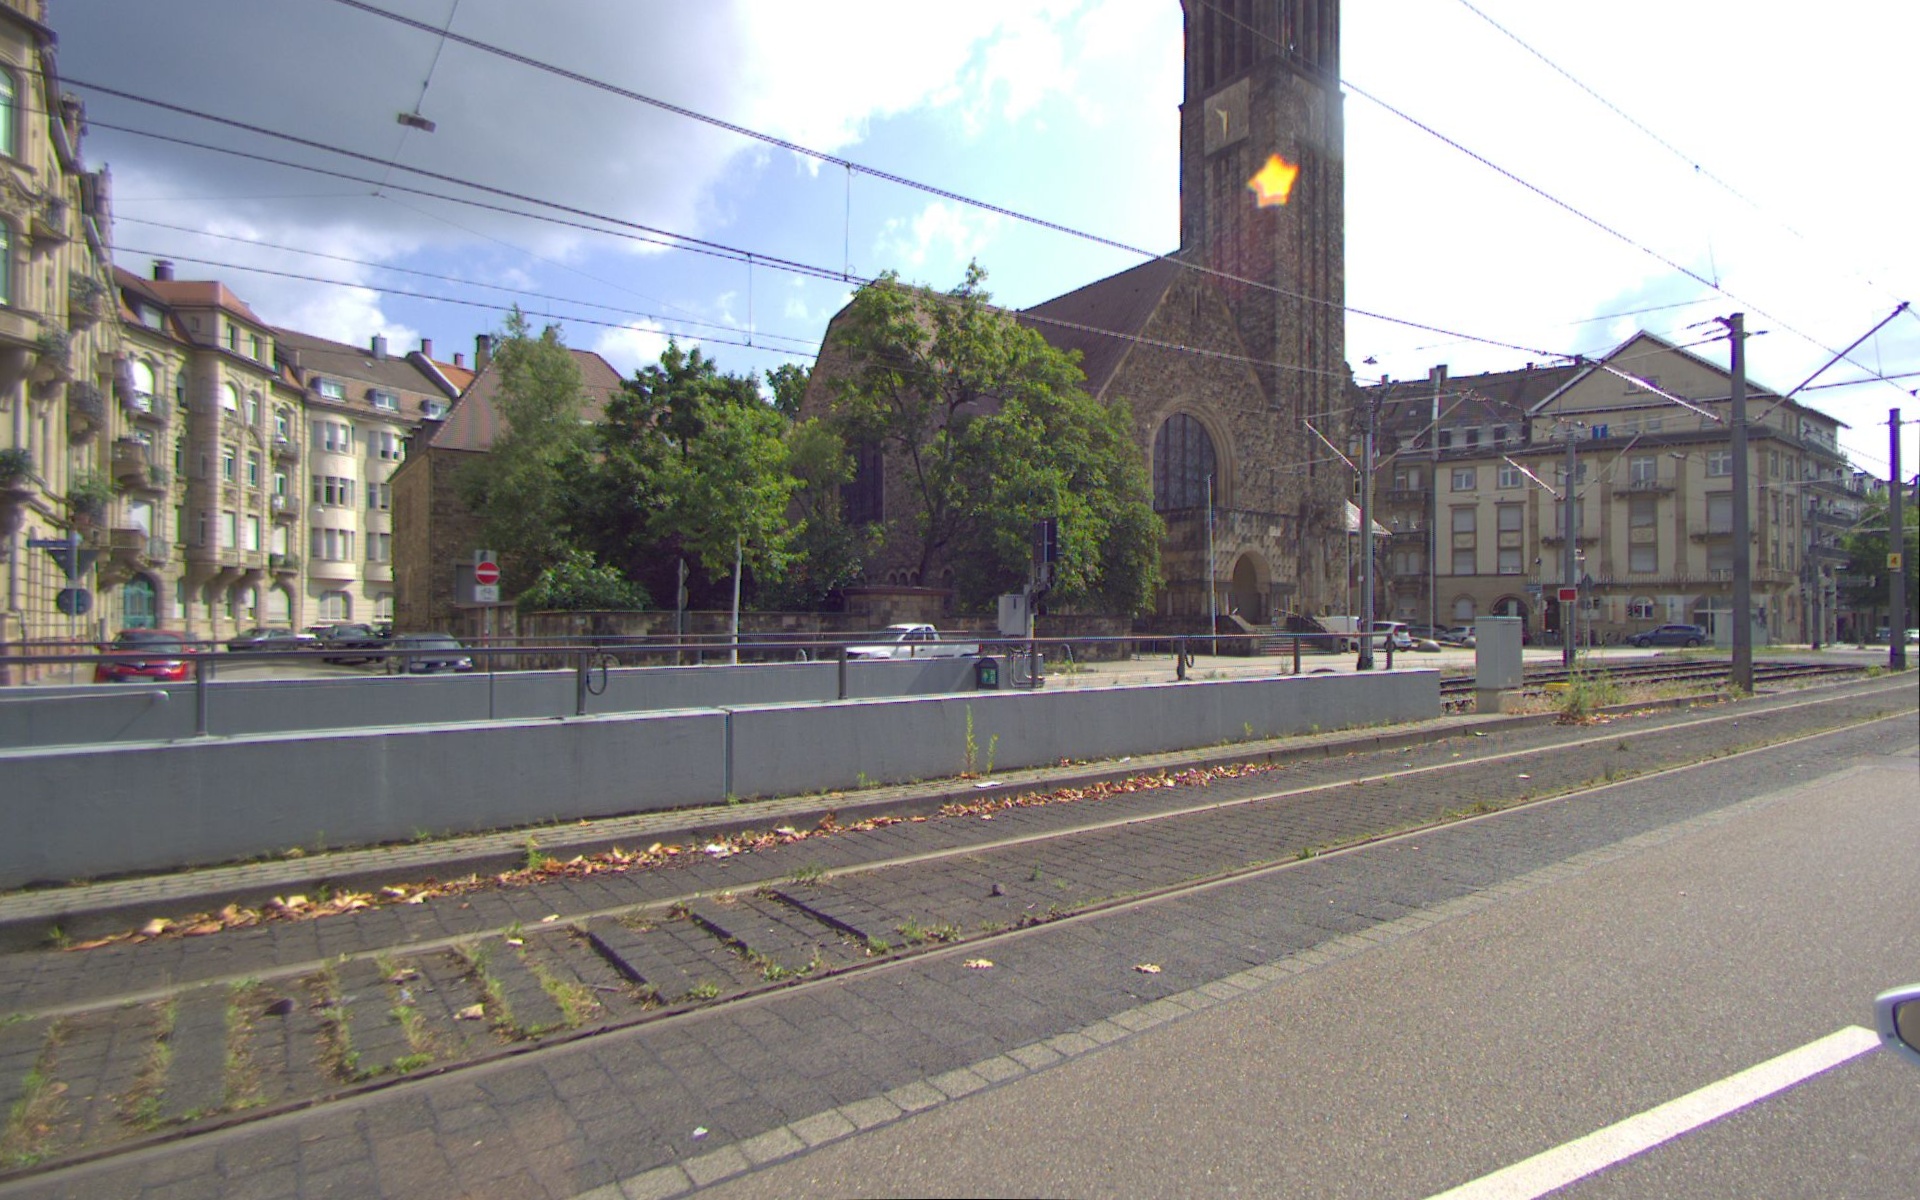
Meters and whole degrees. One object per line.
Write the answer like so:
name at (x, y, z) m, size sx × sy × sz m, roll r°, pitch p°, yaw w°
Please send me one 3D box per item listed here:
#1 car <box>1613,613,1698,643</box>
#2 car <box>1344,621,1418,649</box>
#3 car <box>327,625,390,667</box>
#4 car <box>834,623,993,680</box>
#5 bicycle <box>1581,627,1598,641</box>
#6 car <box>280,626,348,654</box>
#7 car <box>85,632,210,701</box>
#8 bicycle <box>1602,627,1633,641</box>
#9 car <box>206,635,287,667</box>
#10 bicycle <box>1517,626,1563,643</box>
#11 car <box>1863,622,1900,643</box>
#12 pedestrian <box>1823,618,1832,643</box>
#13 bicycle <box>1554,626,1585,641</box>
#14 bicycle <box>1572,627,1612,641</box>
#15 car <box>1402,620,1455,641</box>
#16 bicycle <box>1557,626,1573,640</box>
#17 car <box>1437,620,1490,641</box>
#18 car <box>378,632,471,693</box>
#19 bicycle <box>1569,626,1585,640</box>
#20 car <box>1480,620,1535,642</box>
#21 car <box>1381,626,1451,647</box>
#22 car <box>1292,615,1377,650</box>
car at (49.366, 1.998, 71.385) m, size 4.719 × 2.040 × 1.997 m, roll -1°, pitch -1°, yaw 29°
car at (23.043, 1.902, 55.039) m, size 1.838 × 1.522 × 3.241 m, roll 1°, pitch -2°, yaw -37°
car at (-25.729, 1.920, 42.907) m, size 1.915 × 1.693 × 3.752 m, roll 1°, pitch -2°, yaw -37°
car at (-1.308, 1.451, 29.362) m, size 4.375 × 1.524 × 1.916 m, roll 1°, pitch -2°, yaw -39°
bicycle at (48.874, 2.609, 77.973) m, size 0.791 × 1.067 × 2.564 m, roll -1°, pitch -1°, yaw 24°
car at (-40.490, 2.489, 63.022) m, size 1.895 × 1.693 × 3.792 m, roll 0°, pitch -1°, yaw -2°
car at (-19.316, 1.508, 24.037) m, size 1.912 × 1.483 × 3.759 m, roll 1°, pitch -2°, yaw -33°
bicycle at (50.455, 2.613, 77.061) m, size 2.531 × 1.067 × 0.801 m, roll 0°, pitch -1°, yaw -25°
car at (-39.580, 2.810, 55.827) m, size 1.895 × 1.693 × 3.792 m, roll 0°, pitch -1°, yaw -2°
bicycle at (45.408, 2.703, 78.680) m, size 0.983 × 1.270 × 3.306 m, roll 0°, pitch -1°, yaw -19°
car at (90.168, 3.190, 98.252) m, size 3.962 × 2.040 × 1.980 m, roll 1°, pitch -2°, yaw -37°
pedestrian at (71.228, 2.502, 82.472) m, size 0.416 × 2.040 × 0.473 m, roll 1°, pitch -1°, yaw -41°
bicycle at (46.376, 2.563, 76.414) m, size 1.937 × 1.129 × 0.487 m, roll -1°, pitch -1°, yaw 17°
bicycle at (48.081, 2.586, 76.435) m, size 2.518 × 1.067 × 0.681 m, roll -1°, pitch -1°, yaw 27°
car at (38.406, 2.516, 82.395) m, size 1.965 × 1.695 × 3.992 m, roll 0°, pitch -1°, yaw -11°
bicycle at (47.402, 2.597, 78.733) m, size 0.728 × 1.067 × 2.564 m, roll -1°, pitch -1°, yaw 24°
car at (40.813, 2.493, 81.464) m, size 1.771 × 1.661 × 3.992 m, roll 0°, pitch -1°, yaw -11°
car at (-14.431, 1.615, 26.960) m, size 1.707 × 1.483 × 3.936 m, roll 1°, pitch -2°, yaw -36°
bicycle at (48.113, 2.603, 78.340) m, size 0.791 × 1.067 × 2.564 m, roll -1°, pitch -1°, yaw 24°
car at (43.387, 2.437, 79.688) m, size 1.961 × 1.696 × 3.999 m, roll 0°, pitch -1°, yaw -4°
car at (33.430, 2.674, 73.693) m, size 4.490 × 1.455 × 1.703 m, roll -1°, pitch -2°, yaw 31°
car at (20.004, 1.727, 53.706) m, size 1.879 × 1.772 × 3.839 m, roll 1°, pitch -2°, yaw -39°
